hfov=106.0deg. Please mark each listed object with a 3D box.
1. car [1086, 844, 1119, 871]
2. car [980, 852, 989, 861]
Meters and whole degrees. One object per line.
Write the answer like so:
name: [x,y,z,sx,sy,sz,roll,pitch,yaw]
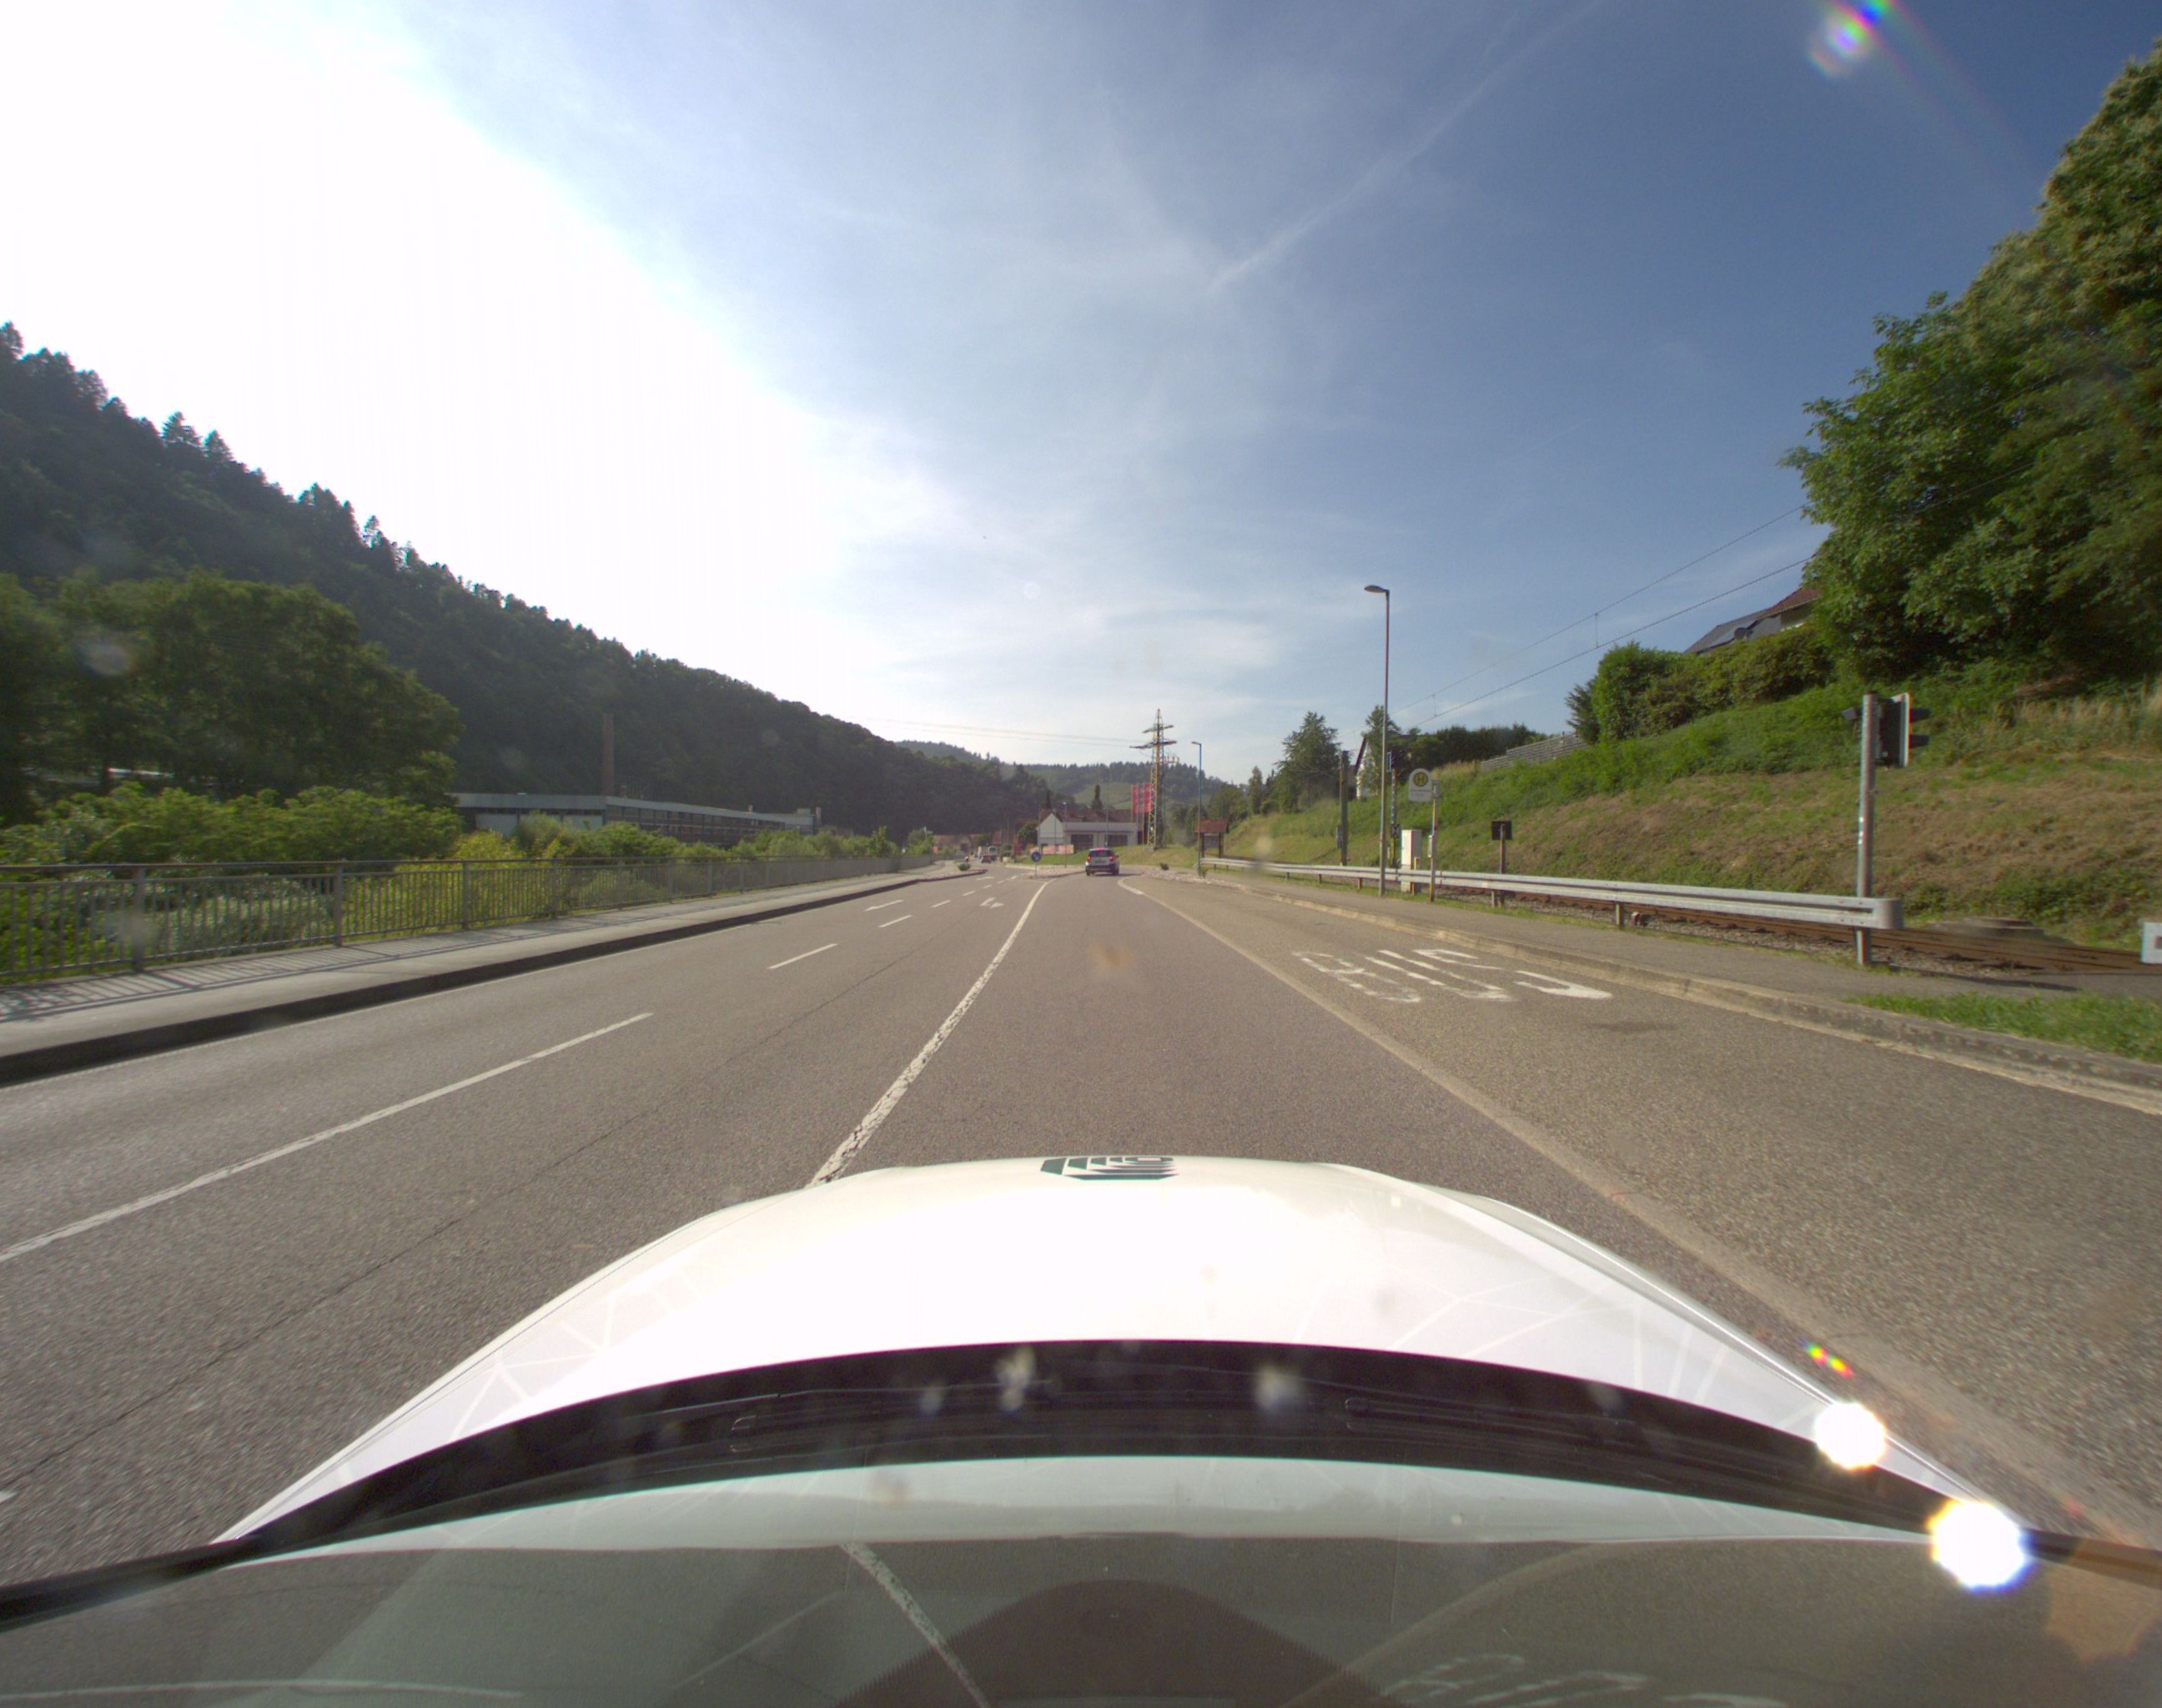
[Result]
car: [1.266,0.218,49.707,1.855,1.544,4.372,1,0,0]
car: [-17.012,0.447,144.037,1.453,1.435,2.927,1,1,-9]
